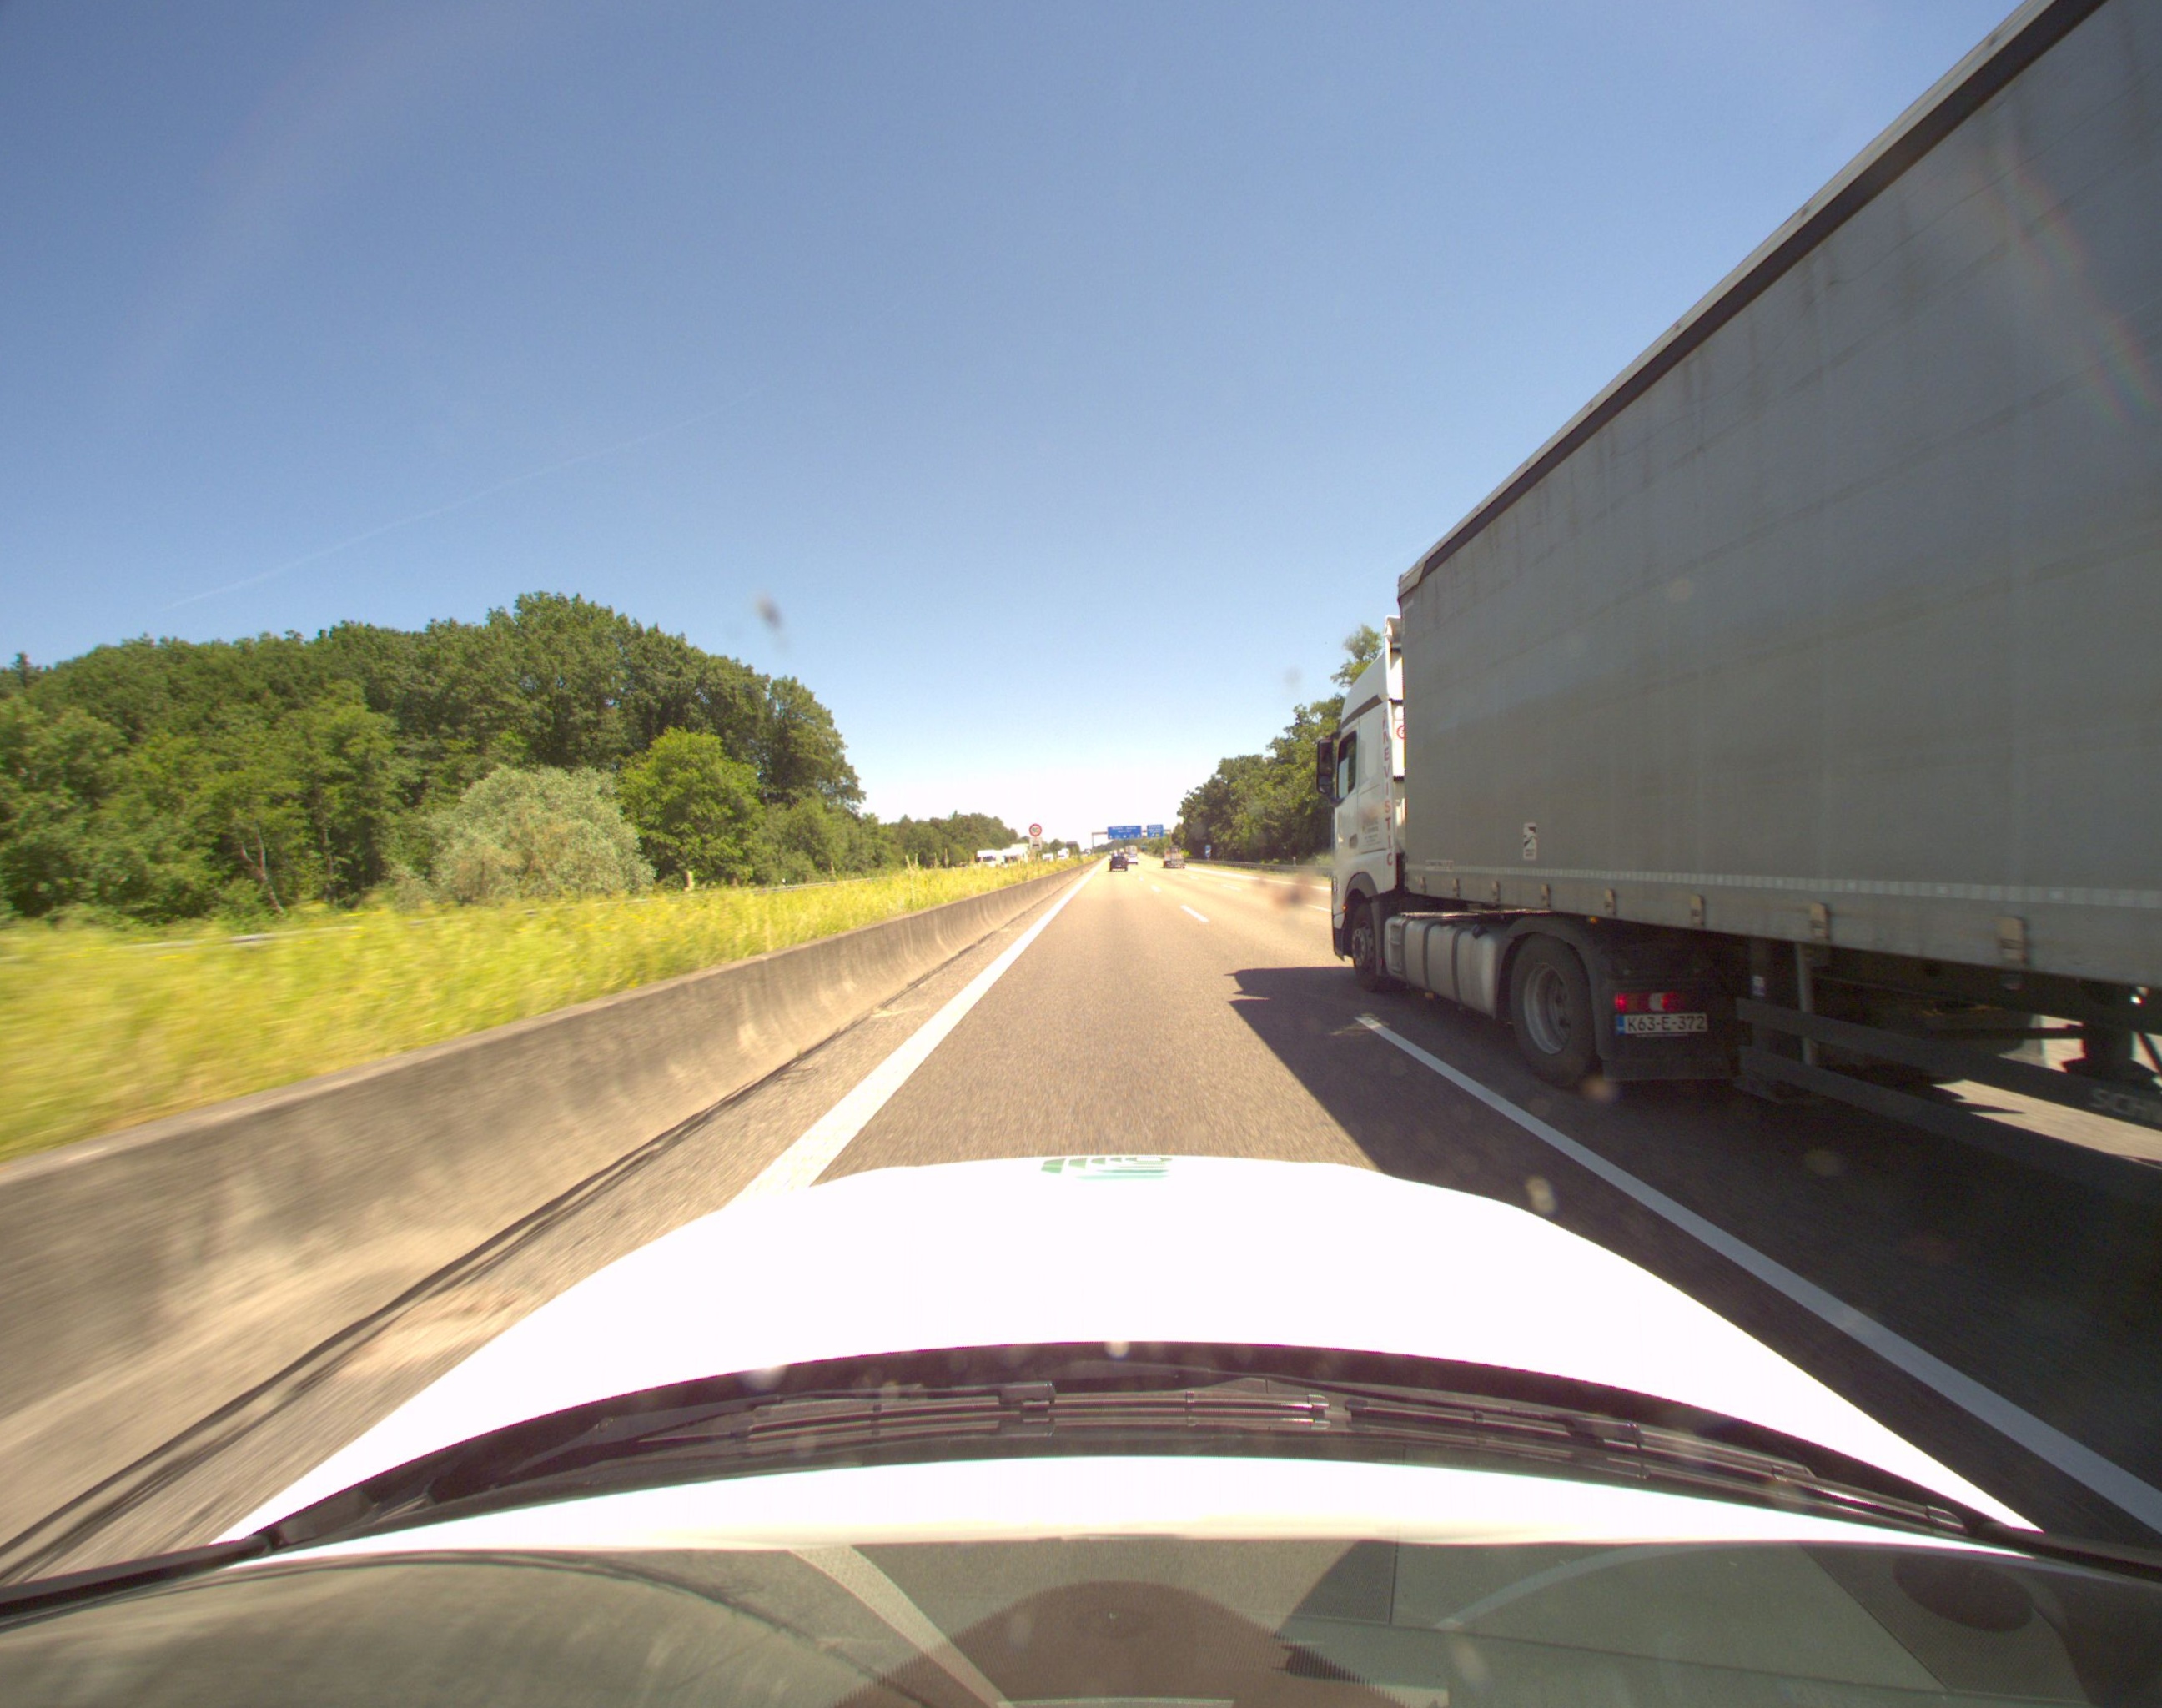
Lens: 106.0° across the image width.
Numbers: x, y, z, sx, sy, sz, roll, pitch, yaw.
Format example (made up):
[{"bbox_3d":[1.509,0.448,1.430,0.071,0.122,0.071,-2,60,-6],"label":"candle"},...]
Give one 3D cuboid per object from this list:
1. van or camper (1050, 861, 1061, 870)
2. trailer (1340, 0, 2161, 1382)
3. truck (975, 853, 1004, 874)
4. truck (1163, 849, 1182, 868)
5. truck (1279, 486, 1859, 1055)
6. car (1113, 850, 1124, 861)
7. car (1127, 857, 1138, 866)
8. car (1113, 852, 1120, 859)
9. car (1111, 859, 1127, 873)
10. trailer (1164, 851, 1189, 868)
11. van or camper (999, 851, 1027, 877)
[{"bbox_3d":[-5.749,2.531,184.273,2.214,2.014,5.888,-1,-1,1],"label":"van or camper"},{"bbox_3d":[4.128,-0.684,1.856,2.698,4.068,14.749,-1,-1,2],"label":"trailer"},{"bbox_3d":[-13.578,1.339,122.040,2.677,2.942,10.491,-2,0,2],"label":"truck"},{"bbox_3d":[11.570,0.551,103.507,1.986,2.374,4.645,-1,0,1],"label":"truck"},{"bbox_3d":[4.305,-0.569,9.133,2.690,4.094,6.455,-1,-1,1],"label":"truck"},{"bbox_3d":[7.800,0.325,169.865,1.986,2.013,4.001,-3,-1,2],"label":"car"},{"bbox_3d":[8.848,1.204,139.710,1.733,1.486,4.001,-1,0,2],"label":"car"},{"bbox_3d":[10.662,0.507,247.306,1.986,2.014,4.001,-3,-1,1],"label":"car"},{"bbox_3d":[4.143,1.293,89.273,1.654,1.549,3.783,-1,-1,1],"label":"car"},{"bbox_3d":[11.447,0.639,98.150,2.412,2.013,6.034,-1,0,1],"label":"trailer"},{"bbox_3d":[-8.433,1.196,102.248,2.497,3.155,7.539,-1,0,3],"label":"van or camper"}]
